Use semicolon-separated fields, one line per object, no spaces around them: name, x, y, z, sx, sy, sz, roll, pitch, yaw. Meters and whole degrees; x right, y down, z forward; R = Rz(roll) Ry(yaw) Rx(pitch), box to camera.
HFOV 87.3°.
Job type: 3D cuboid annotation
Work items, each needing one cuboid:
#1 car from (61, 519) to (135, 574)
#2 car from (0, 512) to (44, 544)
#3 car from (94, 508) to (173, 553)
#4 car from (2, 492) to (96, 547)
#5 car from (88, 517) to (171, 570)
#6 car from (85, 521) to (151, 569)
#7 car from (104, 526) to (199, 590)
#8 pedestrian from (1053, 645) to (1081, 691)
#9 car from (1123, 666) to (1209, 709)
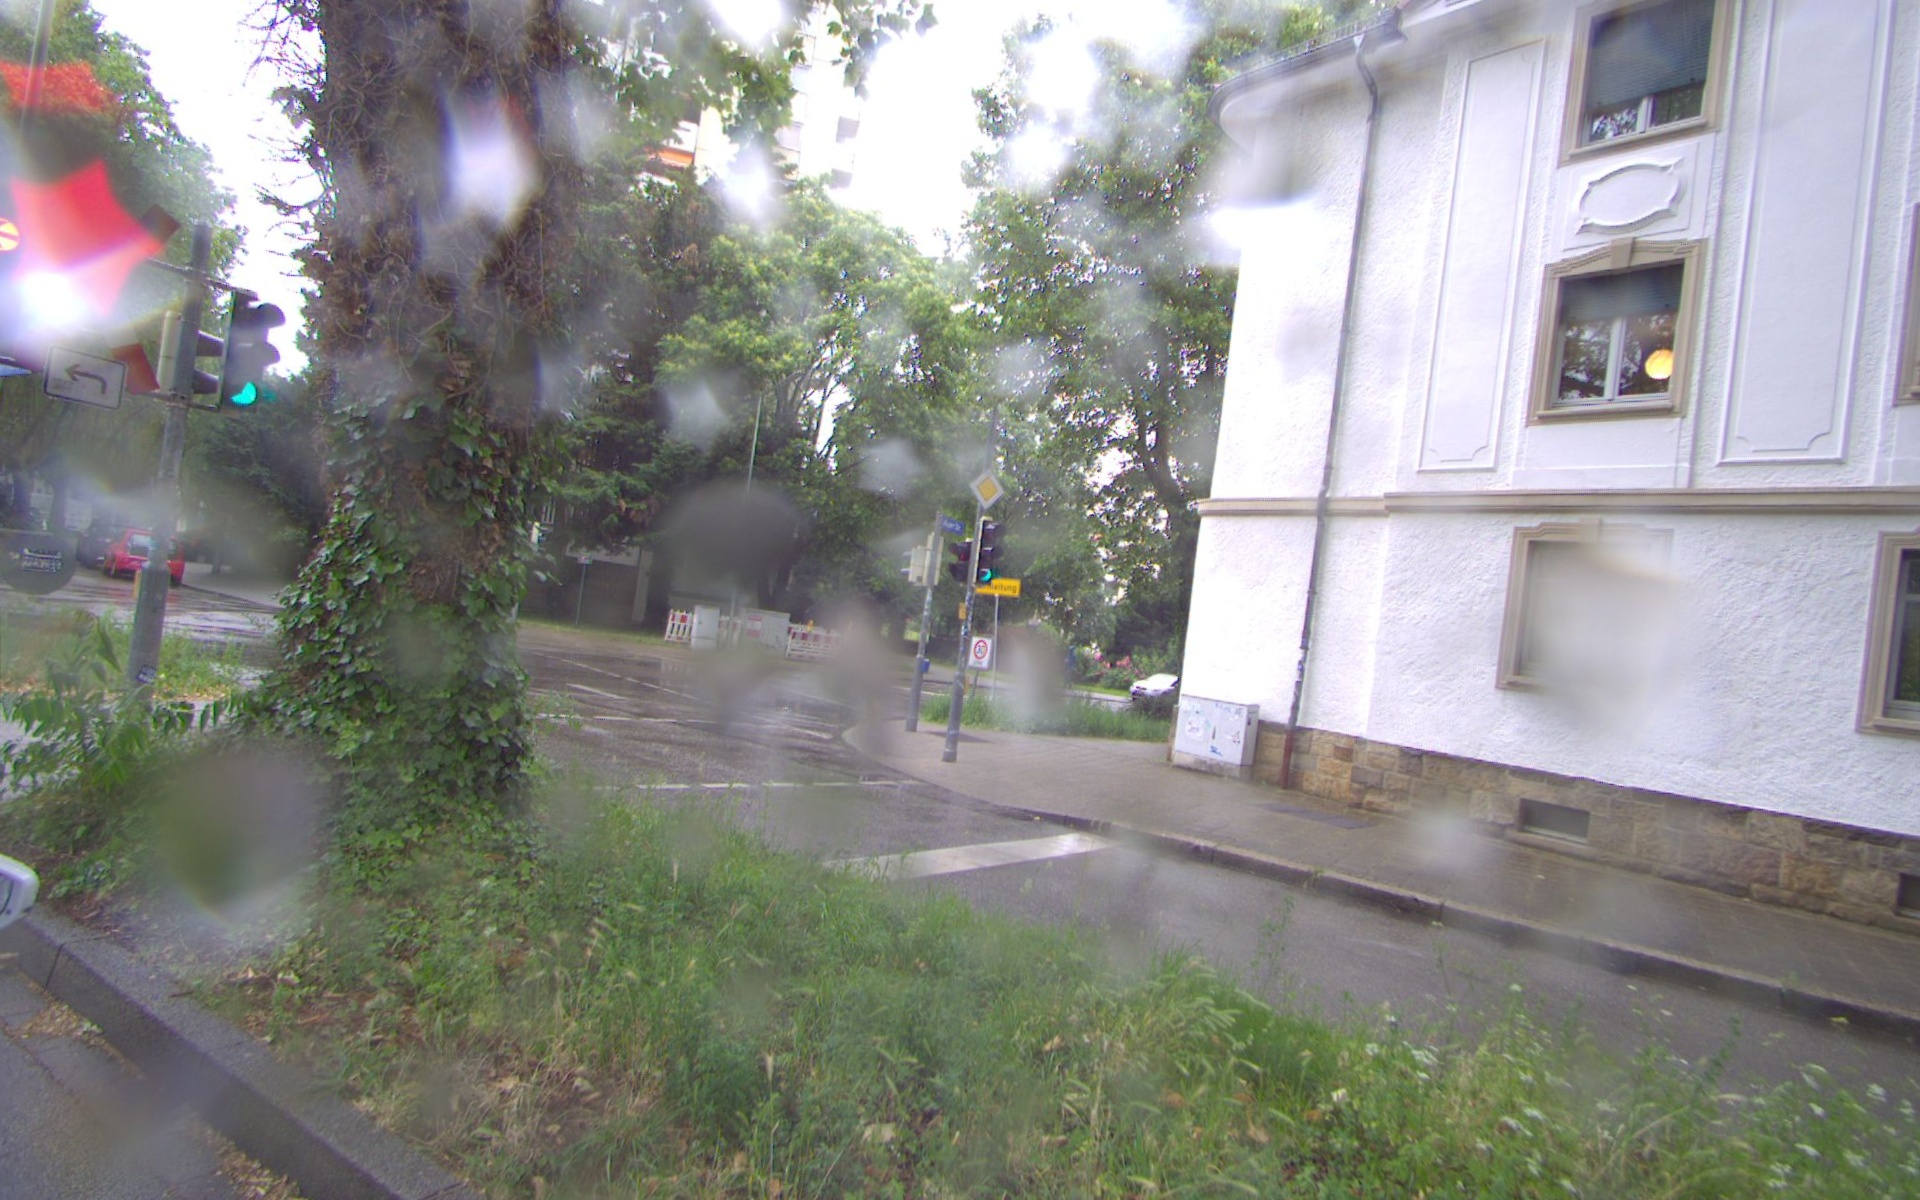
car;-32.982;-2.074;38.453;1.779;1.747;3.951;9;-2;-44
car;-56.205;-4.372;58.626;1.974;1.565;3.980;6;-3;44
car;-69.650;-5.834;84.810;4.683;2.982;2.001;7;-1;1
car;-61.111;-5.385;67.530;4.680;2.982;2.043;7;-1;12
car;-28.096;-1.934;33.999;1.780;1.363;3.879;10;-2;-44
car;-38.724;-2.547;46.227;1.918;1.826;3.951;9;-2;-44
car;-24.830;-1.306;30.842;1.788;1.515;3.950;10;-2;-44
pedestrian;4.664;2.966;43.850;0.670;1.863;0.713;6;-1;44
car;9.412;4.005;45.806;1.829;1.473;3.979;6;-3;45
